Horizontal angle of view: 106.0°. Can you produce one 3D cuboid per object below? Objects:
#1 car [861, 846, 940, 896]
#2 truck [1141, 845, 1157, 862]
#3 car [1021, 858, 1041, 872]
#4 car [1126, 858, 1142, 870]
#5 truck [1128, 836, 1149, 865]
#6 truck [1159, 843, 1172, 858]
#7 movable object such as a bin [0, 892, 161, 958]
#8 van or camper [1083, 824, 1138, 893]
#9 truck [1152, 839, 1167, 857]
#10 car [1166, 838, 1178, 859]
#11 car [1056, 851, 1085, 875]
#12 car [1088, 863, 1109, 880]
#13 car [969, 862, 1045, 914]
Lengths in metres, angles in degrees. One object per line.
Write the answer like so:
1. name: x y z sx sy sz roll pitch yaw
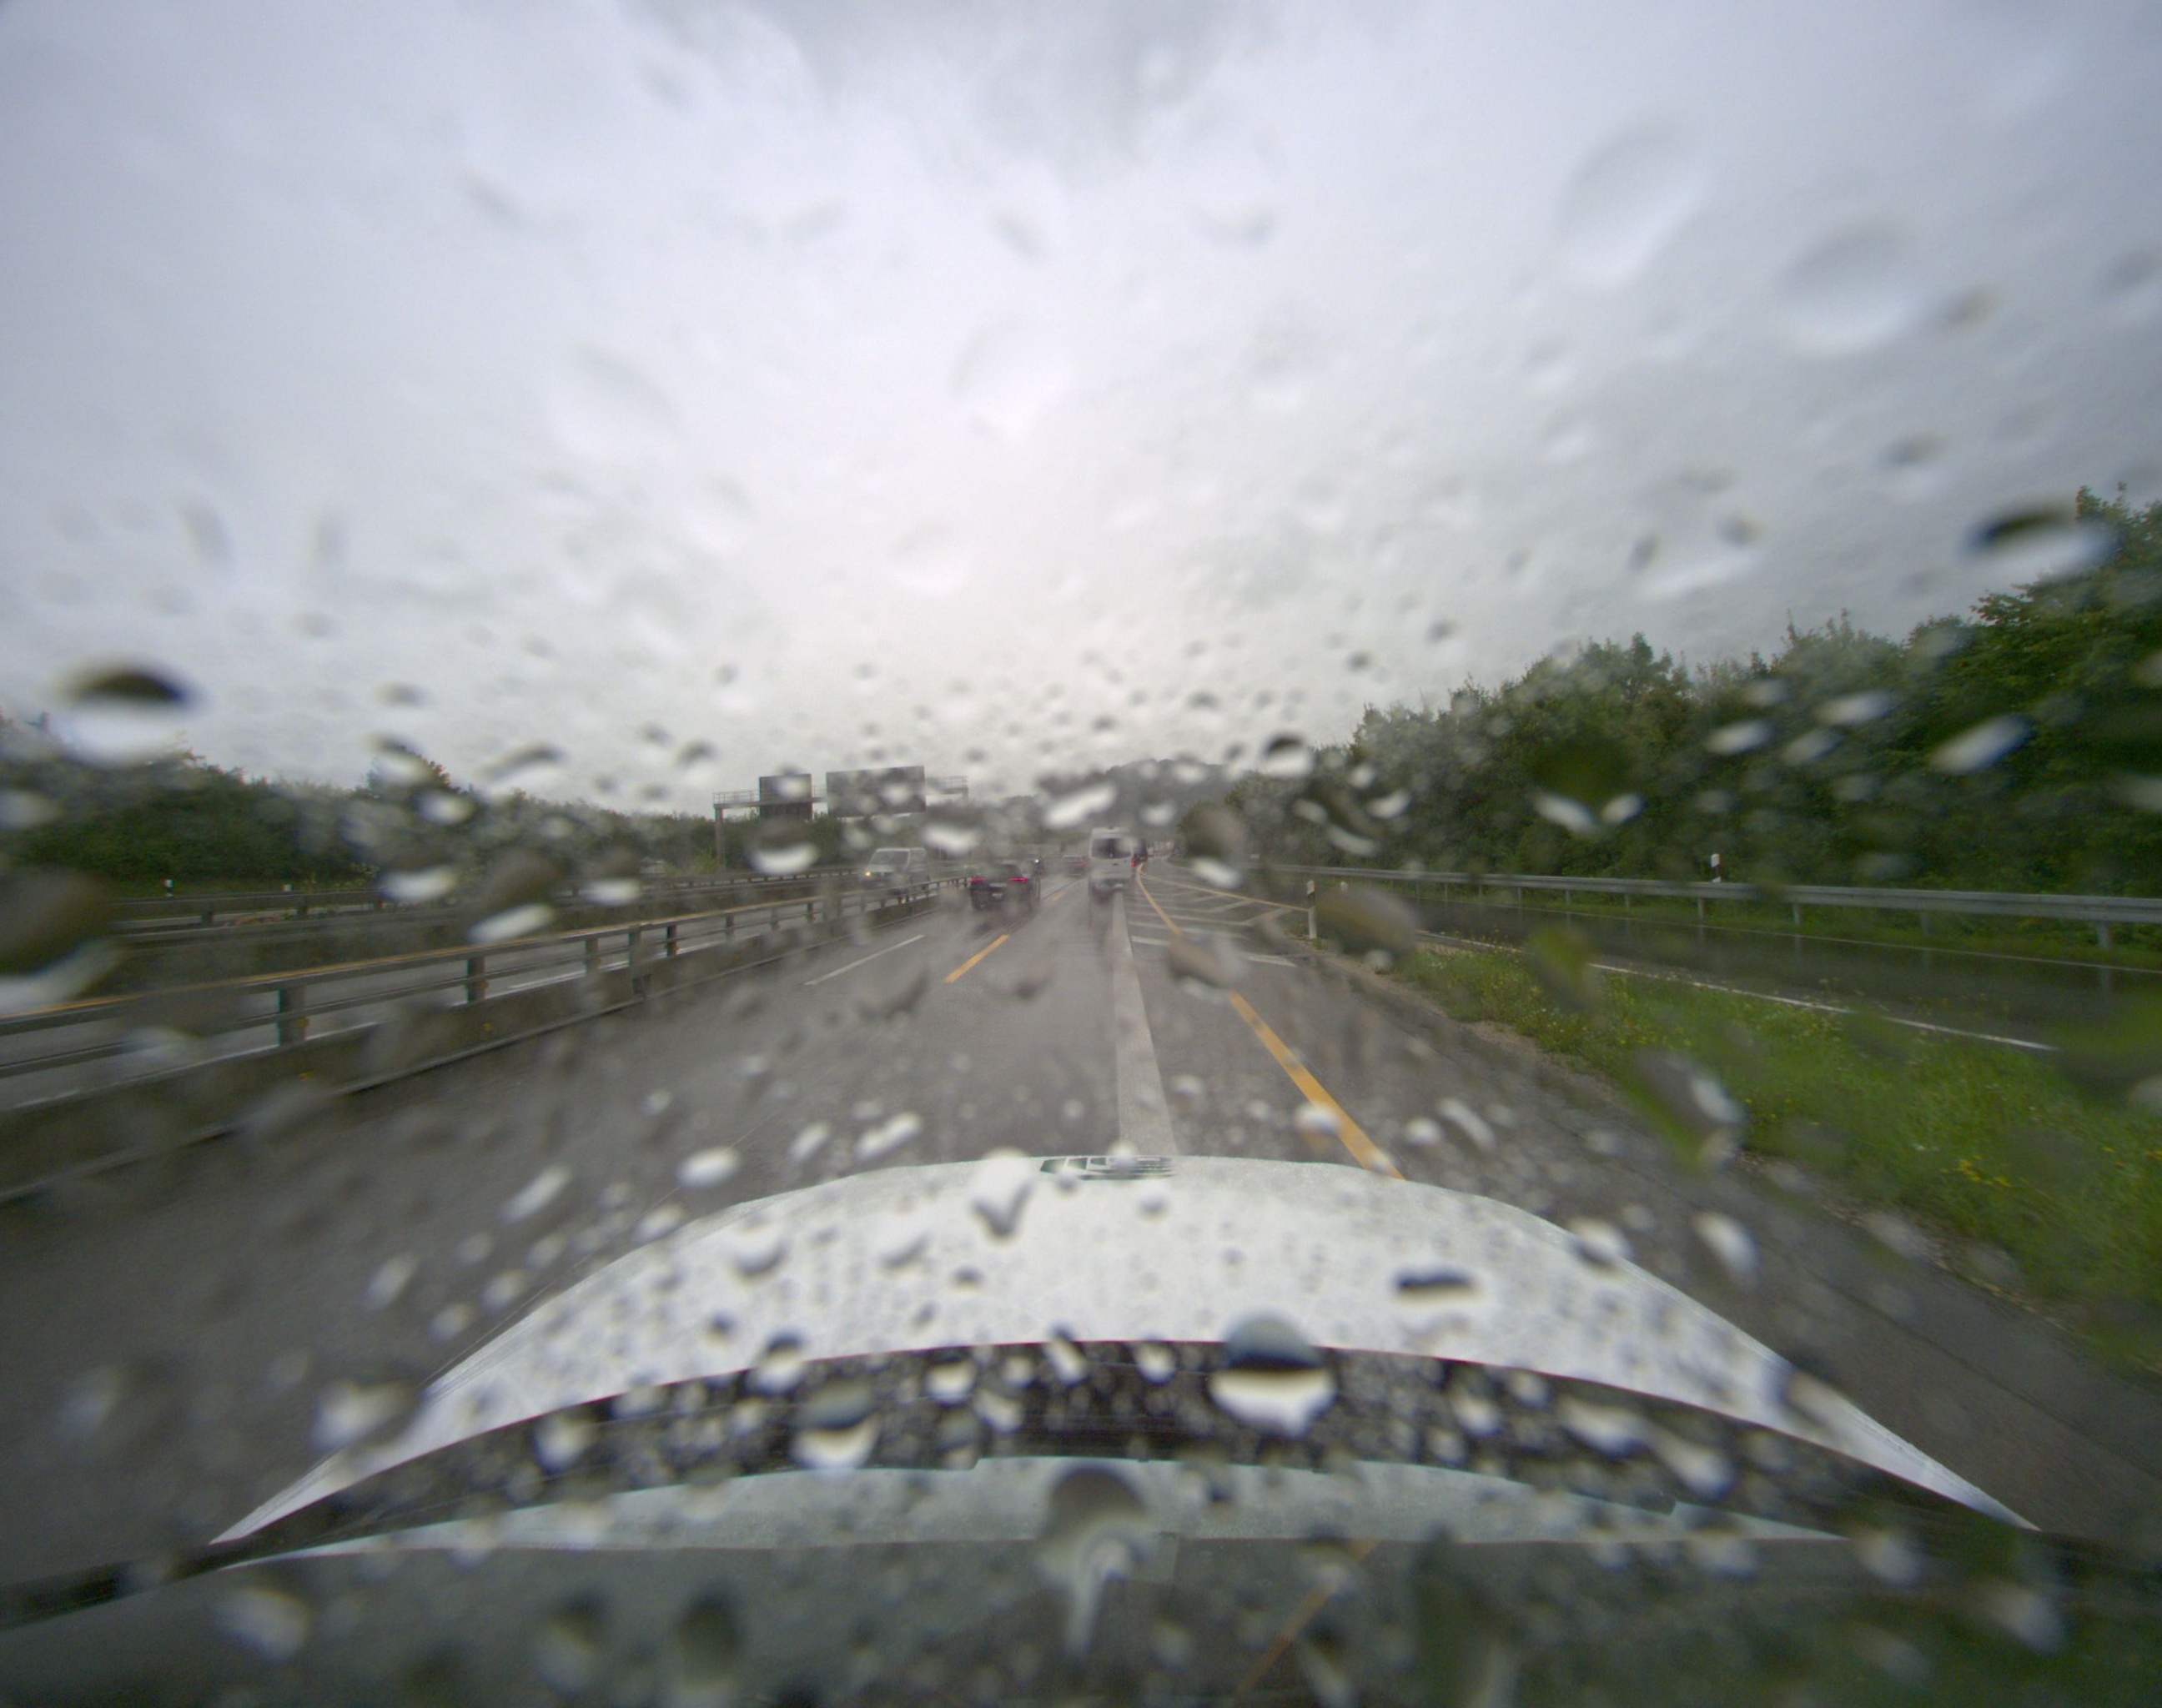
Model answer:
1. car: -7.795 0.711 35.817 1.901 2.014 5.832 0 -1 3
2. truck: 15.333 -0.065 184.687 3.308 3.762 9.911 0 -1 2
3. car: -5.132 1.093 83.842 1.625 1.351 3.656 -1 -1 2
4. car: 5.891 1.145 90.967 1.381 1.256 3.120 -1 -1 -2
5. truck: 9.859 -0.505 140.370 3.308 4.785 9.911 0 -1 2
6. truck: 27.301 -1.130 261.973 3.908 4.785 9.924 0 -1 6
7. movable object such as a bin: -26.316 1.740 20.310 2.118 1.425 4.002 0 -1 2
8. van or camper: 1.290 0.207 35.047 2.131 2.721 4.651 -1 -1 2
9. truck: 21.509 -1.482 223.725 3.908 4.785 9.924 0 -1 6
10. car: 18.572 -1.129 166.459 2.048 4.192 6.753 -1 -1 4
11. car: -0.711 0.643 58.048 1.860 1.659 3.990 -1 -1 2
12. car: 1.713 1.682 78.378 1.845 1.500 4.002 -1 -1 2
13. car: -2.190 0.987 25.239 1.933 1.427 4.758 -1 -1 0
